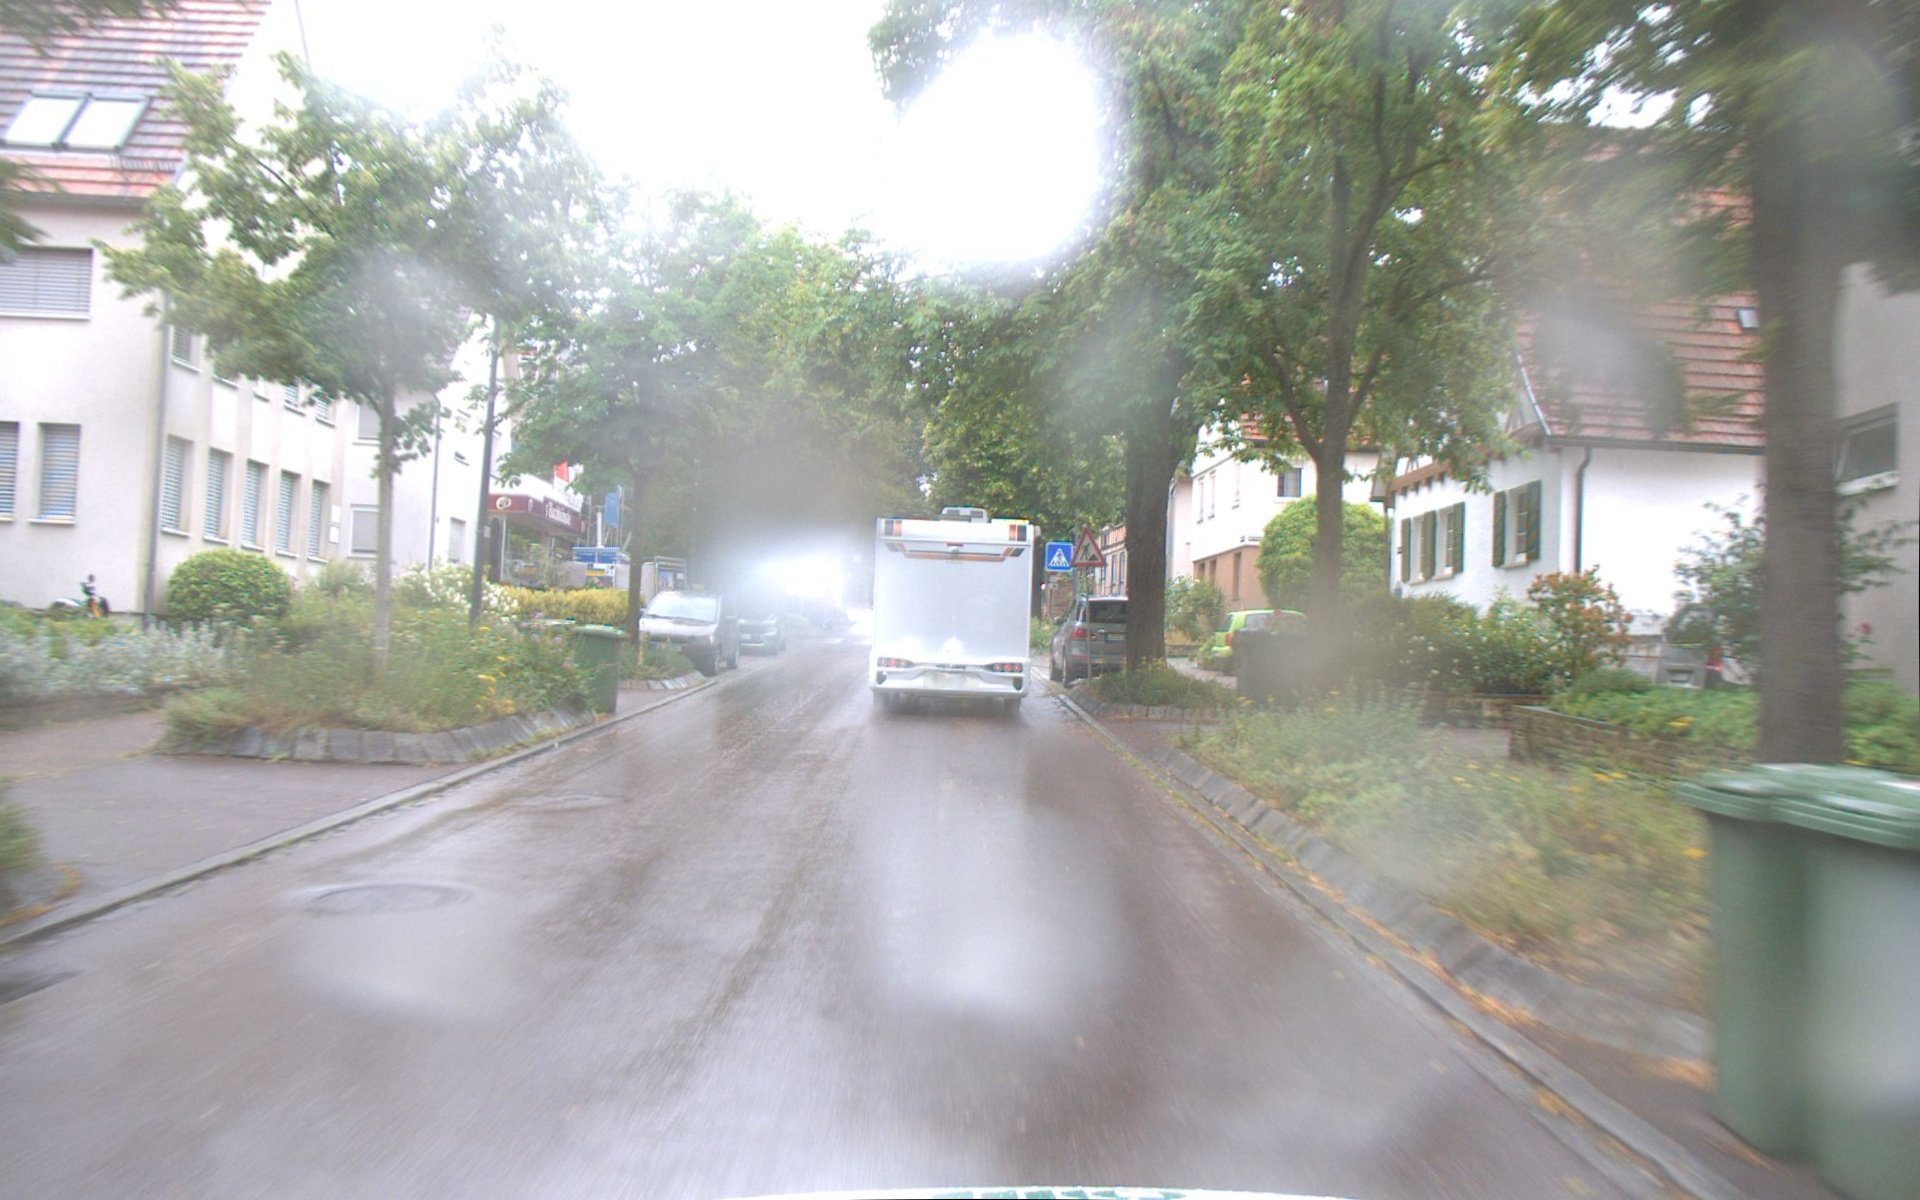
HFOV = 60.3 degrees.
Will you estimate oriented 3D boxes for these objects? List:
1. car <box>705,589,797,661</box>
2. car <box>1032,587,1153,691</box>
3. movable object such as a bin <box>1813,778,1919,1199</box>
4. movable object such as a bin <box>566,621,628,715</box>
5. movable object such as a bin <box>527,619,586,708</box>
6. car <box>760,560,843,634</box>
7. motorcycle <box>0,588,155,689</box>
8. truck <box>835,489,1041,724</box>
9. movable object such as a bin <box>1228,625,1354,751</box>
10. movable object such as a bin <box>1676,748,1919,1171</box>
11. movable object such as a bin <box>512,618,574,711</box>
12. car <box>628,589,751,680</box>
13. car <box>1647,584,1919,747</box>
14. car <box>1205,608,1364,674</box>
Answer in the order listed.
[{"bbox_3d":[-5.191,0.577,41.506,1.736,1.580,3.999,4,0,-1],"label":"car"},{"bbox_3d":[2.521,0.716,32.487,1.875,1.823,4.487,3,0,-1],"label":"car"},{"bbox_3d":[2.616,1.038,4.194,0.618,1.101,0.471,3,-1,-5],"label":"movable object such as a bin"},{"bbox_3d":[-4.552,0.844,20.767,0.629,1.130,0.536,2,0,1],"label":"movable object such as a bin"},{"bbox_3d":[-5.292,0.827,21.707,0.598,1.130,0.564,2,0,1],"label":"movable object such as a bin"},{"bbox_3d":[-5.830,-0.145,61.649,2.256,2.526,5.786,3,1,2],"label":"car"},{"bbox_3d":[-11.477,0.484,21.114,1.942,1.182,0.818,3,-1,-1],"label":"motorcycle"},{"bbox_3d":[-0.327,0.102,25.318,2.640,3.038,6.235,3,0,-1],"label":"truck"},{"bbox_3d":[3.734,0.974,18.743,1.199,1.338,1.134,2,-1,1],"label":"movable object such as a bin"},{"bbox_3d":[2.549,1.018,4.823,0.631,1.101,0.540,3,-1,-5],"label":"movable object such as a bin"},{"bbox_3d":[-5.297,0.813,21.038,0.598,1.130,0.564,2,0,1],"label":"movable object such as a bin"},{"bbox_3d":[-5.213,0.627,32.297,1.613,1.559,3.866,3,0,1],"label":"car"},{"bbox_3d":[12.504,0.986,23.668,4.373,1.932,1.999,6,-1,-2],"label":"car"},{"bbox_3d":[7.487,0.931,38.310,3.298,1.455,1.629,1,0,-4],"label":"car"}]
